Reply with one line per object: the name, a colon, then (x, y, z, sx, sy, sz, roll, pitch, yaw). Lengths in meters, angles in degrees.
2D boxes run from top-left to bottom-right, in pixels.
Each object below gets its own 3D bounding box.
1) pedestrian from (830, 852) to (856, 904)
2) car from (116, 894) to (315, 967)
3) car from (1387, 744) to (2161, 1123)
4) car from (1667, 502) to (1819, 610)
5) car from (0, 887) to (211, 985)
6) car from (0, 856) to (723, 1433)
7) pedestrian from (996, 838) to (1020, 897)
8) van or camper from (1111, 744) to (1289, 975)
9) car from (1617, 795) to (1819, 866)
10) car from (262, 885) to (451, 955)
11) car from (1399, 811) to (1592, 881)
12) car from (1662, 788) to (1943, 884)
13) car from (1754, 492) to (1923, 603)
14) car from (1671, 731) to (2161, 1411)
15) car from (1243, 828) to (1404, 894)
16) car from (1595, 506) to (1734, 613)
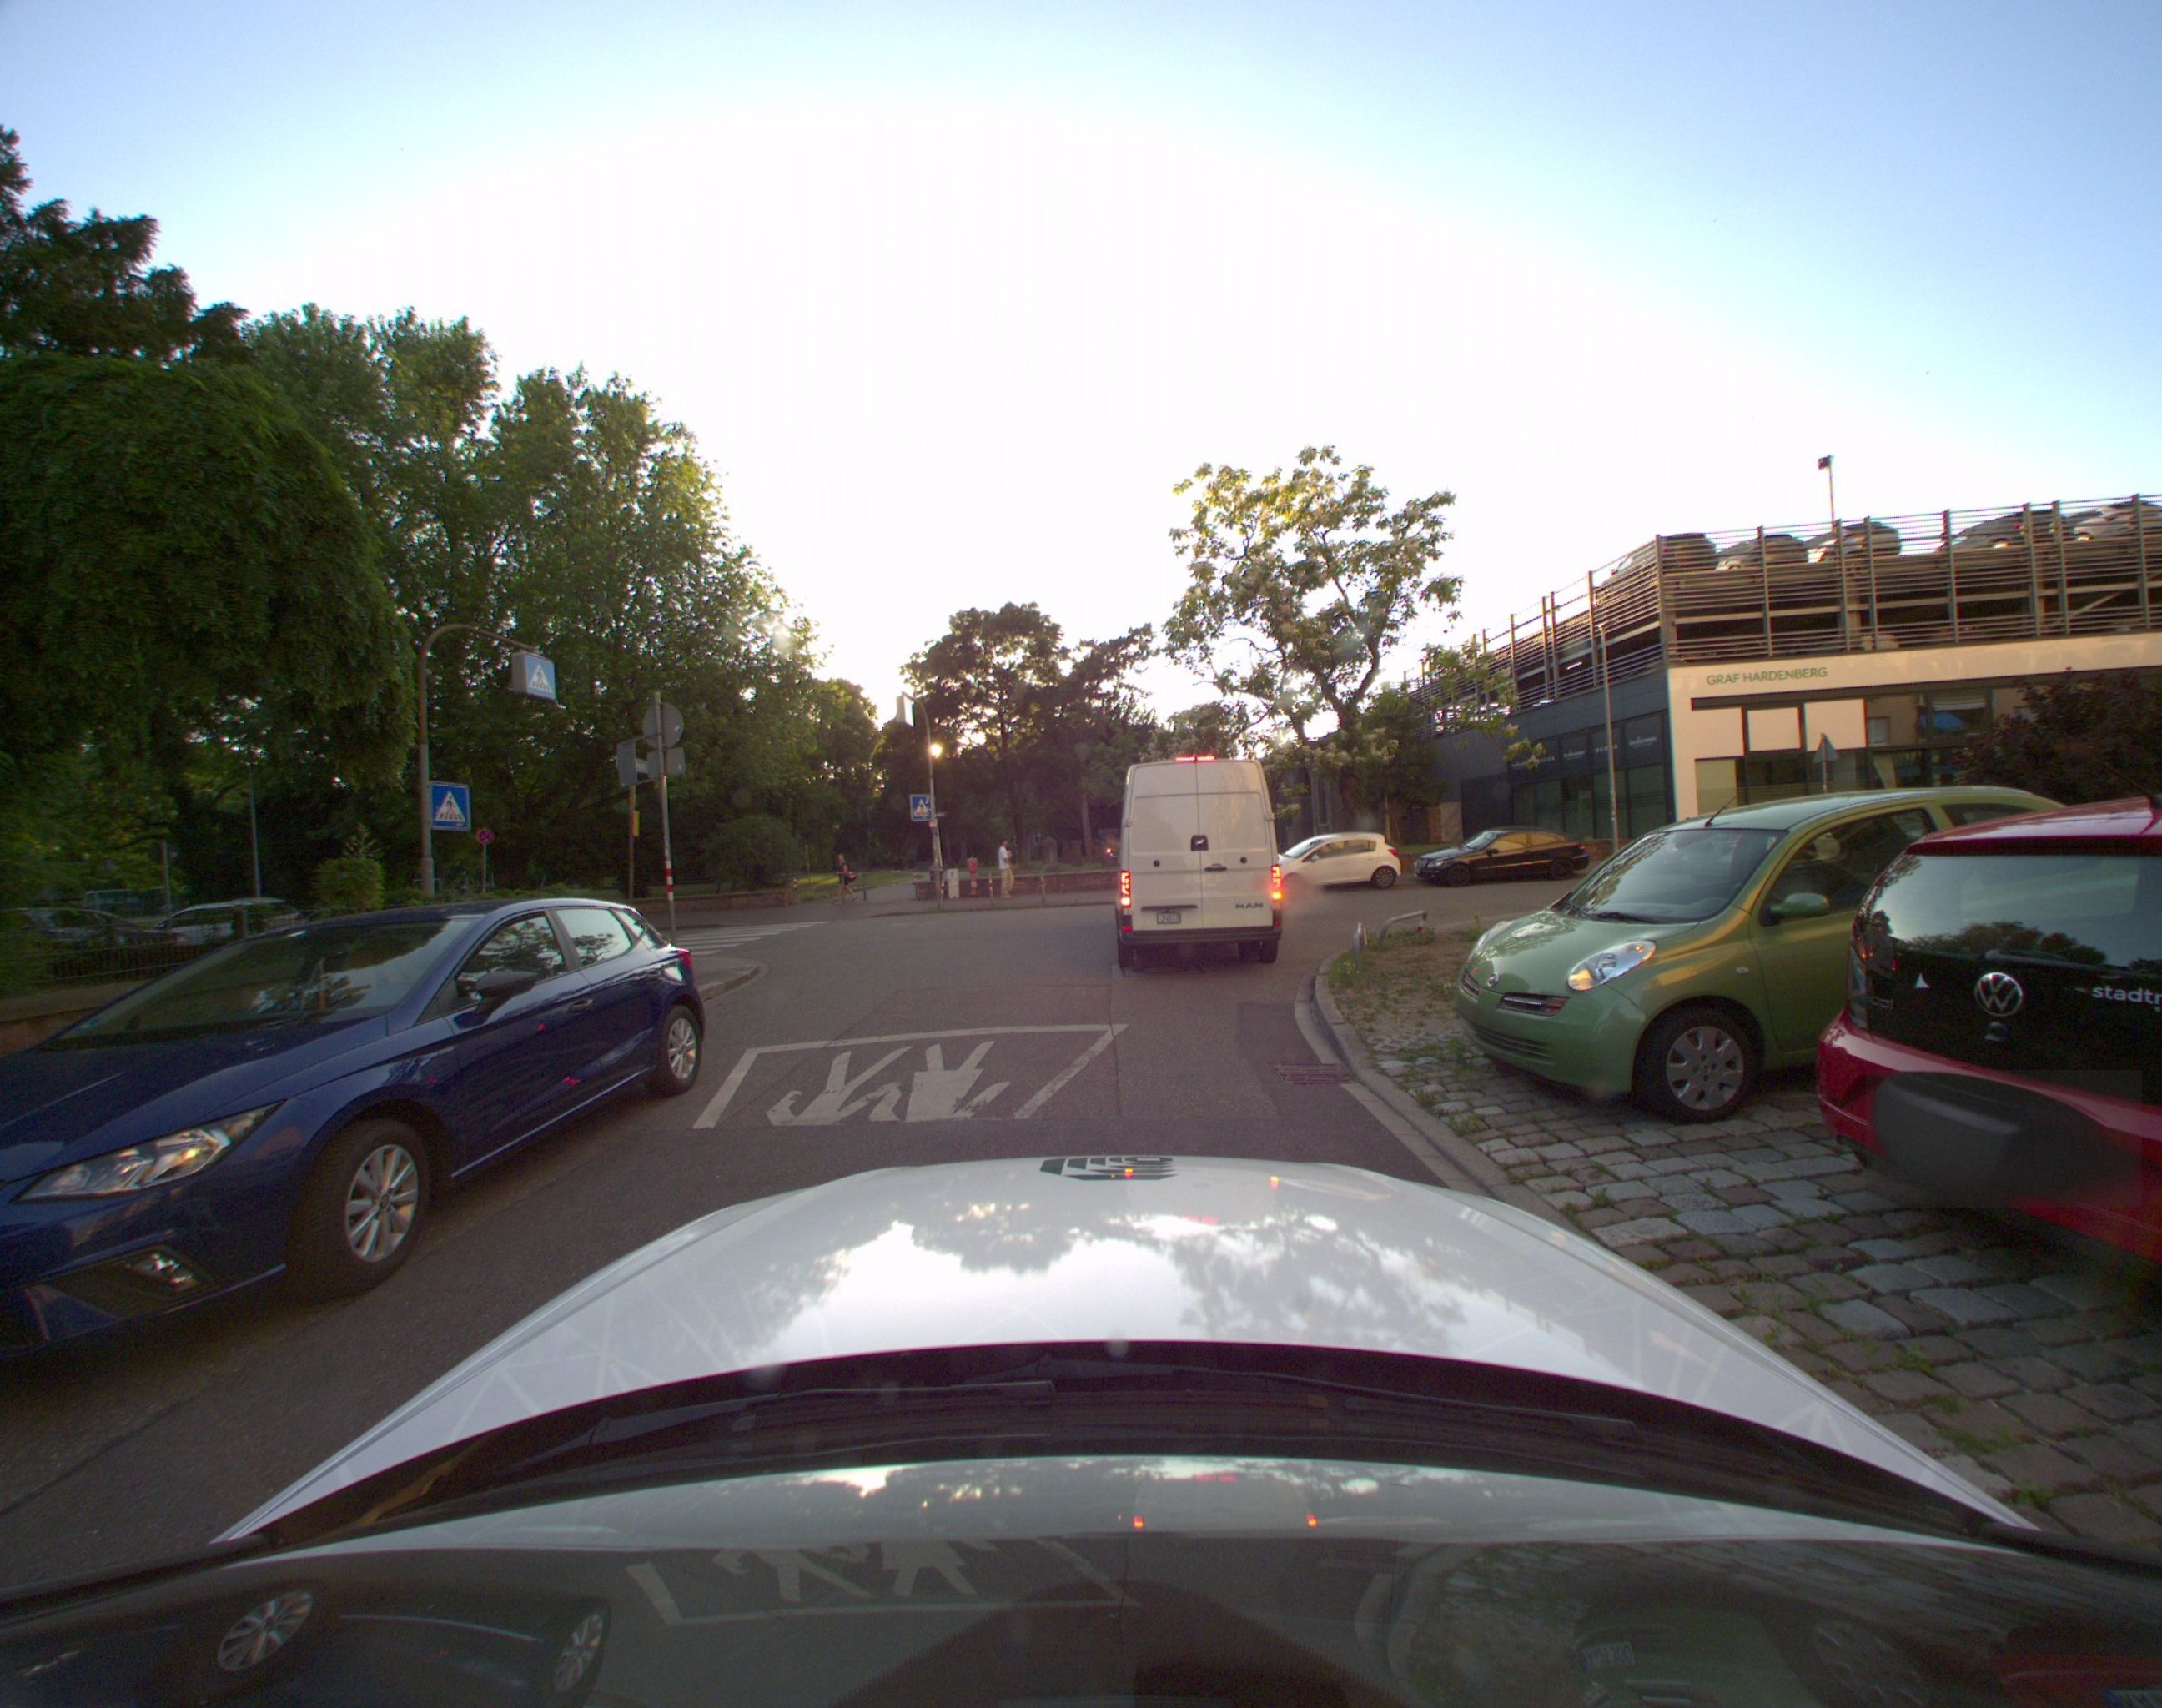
pedestrian: (-7.888, 0.783, 26.968, 0.670, 1.648, 0.647, -1, 0, -5)
car: (-25.666, 2.239, 24.257, 3.852, 1.562, 1.826, -4, 6, 3)
car: (4.483, 0.363, 5.042, 4.392, 1.631, 1.844, -5, -2, -2)
car: (21.778, -9.739, 27.021, 1.984, 2.013, 4.007, -2, 0, 6)
car: (-21.525, 1.751, 17.283, 4.212, 1.799, 1.824, -4, -3, 2)
car: (-3.528, 0.871, 4.166, 1.729, 1.567, 3.787, -5, 0, -3)
pedestrian: (-2.256, 0.409, 25.128, 0.591, 1.809, 0.621, -2, 0, 2)
van or camper: (1.565, 0.058, 12.557, 1.985, 2.618, 6.409, -1, 0, 4)
car: (16.828, -0.599, 21.684, 3.819, 1.503, 1.826, -4, 0, 4)
car: (-20.962, 1.901, 23.673, 3.832, 1.491, 1.828, -4, 6, 7)
car: (11.205, -0.208, 22.279, 4.273, 1.503, 1.826, -4, 0, 4)
car: (14.251, -0.335, 16.284, 3.819, 1.523, 1.826, -4, 0, 4)
car: (24.498, -9.849, 26.575, 1.984, 2.013, 4.007, -2, 0, 6)
car: (4.759, 0.278, 2.492, 4.386, 1.631, 1.847, -7, 0, 2)
car: (6.678, 0.175, 22.688, 3.844, 1.574, 1.957, -3, 0, -2)
car: (19.213, -9.659, 27.062, 1.984, 2.013, 4.007, -2, 0, 6)
